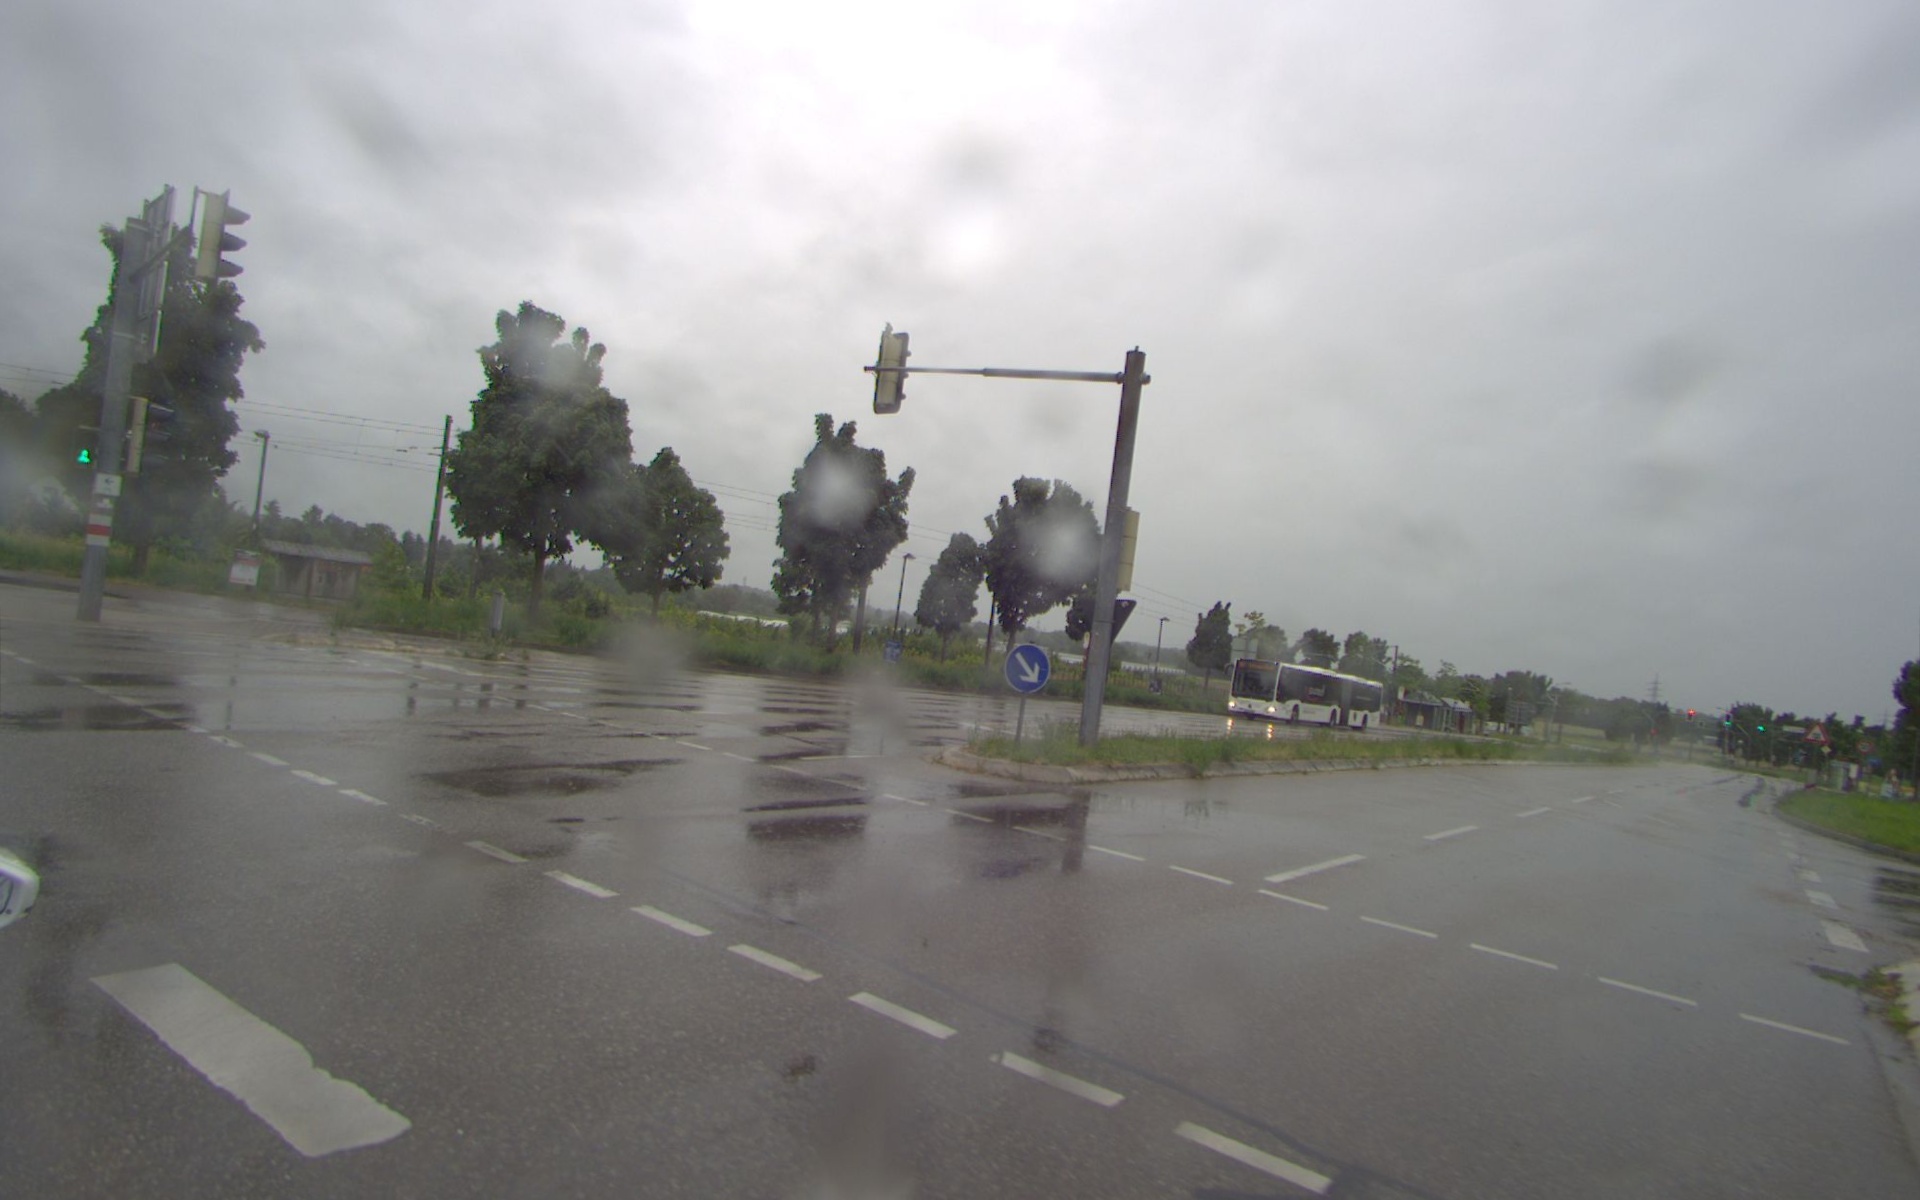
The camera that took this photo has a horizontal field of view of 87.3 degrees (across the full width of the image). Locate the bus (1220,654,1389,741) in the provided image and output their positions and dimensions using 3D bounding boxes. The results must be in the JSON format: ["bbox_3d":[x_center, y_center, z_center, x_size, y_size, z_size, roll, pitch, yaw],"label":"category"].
[{"bbox_3d":[19.683,5.655,55.892,2.715,3.827,18.382,7,-2,38],"label":"bus"}]
